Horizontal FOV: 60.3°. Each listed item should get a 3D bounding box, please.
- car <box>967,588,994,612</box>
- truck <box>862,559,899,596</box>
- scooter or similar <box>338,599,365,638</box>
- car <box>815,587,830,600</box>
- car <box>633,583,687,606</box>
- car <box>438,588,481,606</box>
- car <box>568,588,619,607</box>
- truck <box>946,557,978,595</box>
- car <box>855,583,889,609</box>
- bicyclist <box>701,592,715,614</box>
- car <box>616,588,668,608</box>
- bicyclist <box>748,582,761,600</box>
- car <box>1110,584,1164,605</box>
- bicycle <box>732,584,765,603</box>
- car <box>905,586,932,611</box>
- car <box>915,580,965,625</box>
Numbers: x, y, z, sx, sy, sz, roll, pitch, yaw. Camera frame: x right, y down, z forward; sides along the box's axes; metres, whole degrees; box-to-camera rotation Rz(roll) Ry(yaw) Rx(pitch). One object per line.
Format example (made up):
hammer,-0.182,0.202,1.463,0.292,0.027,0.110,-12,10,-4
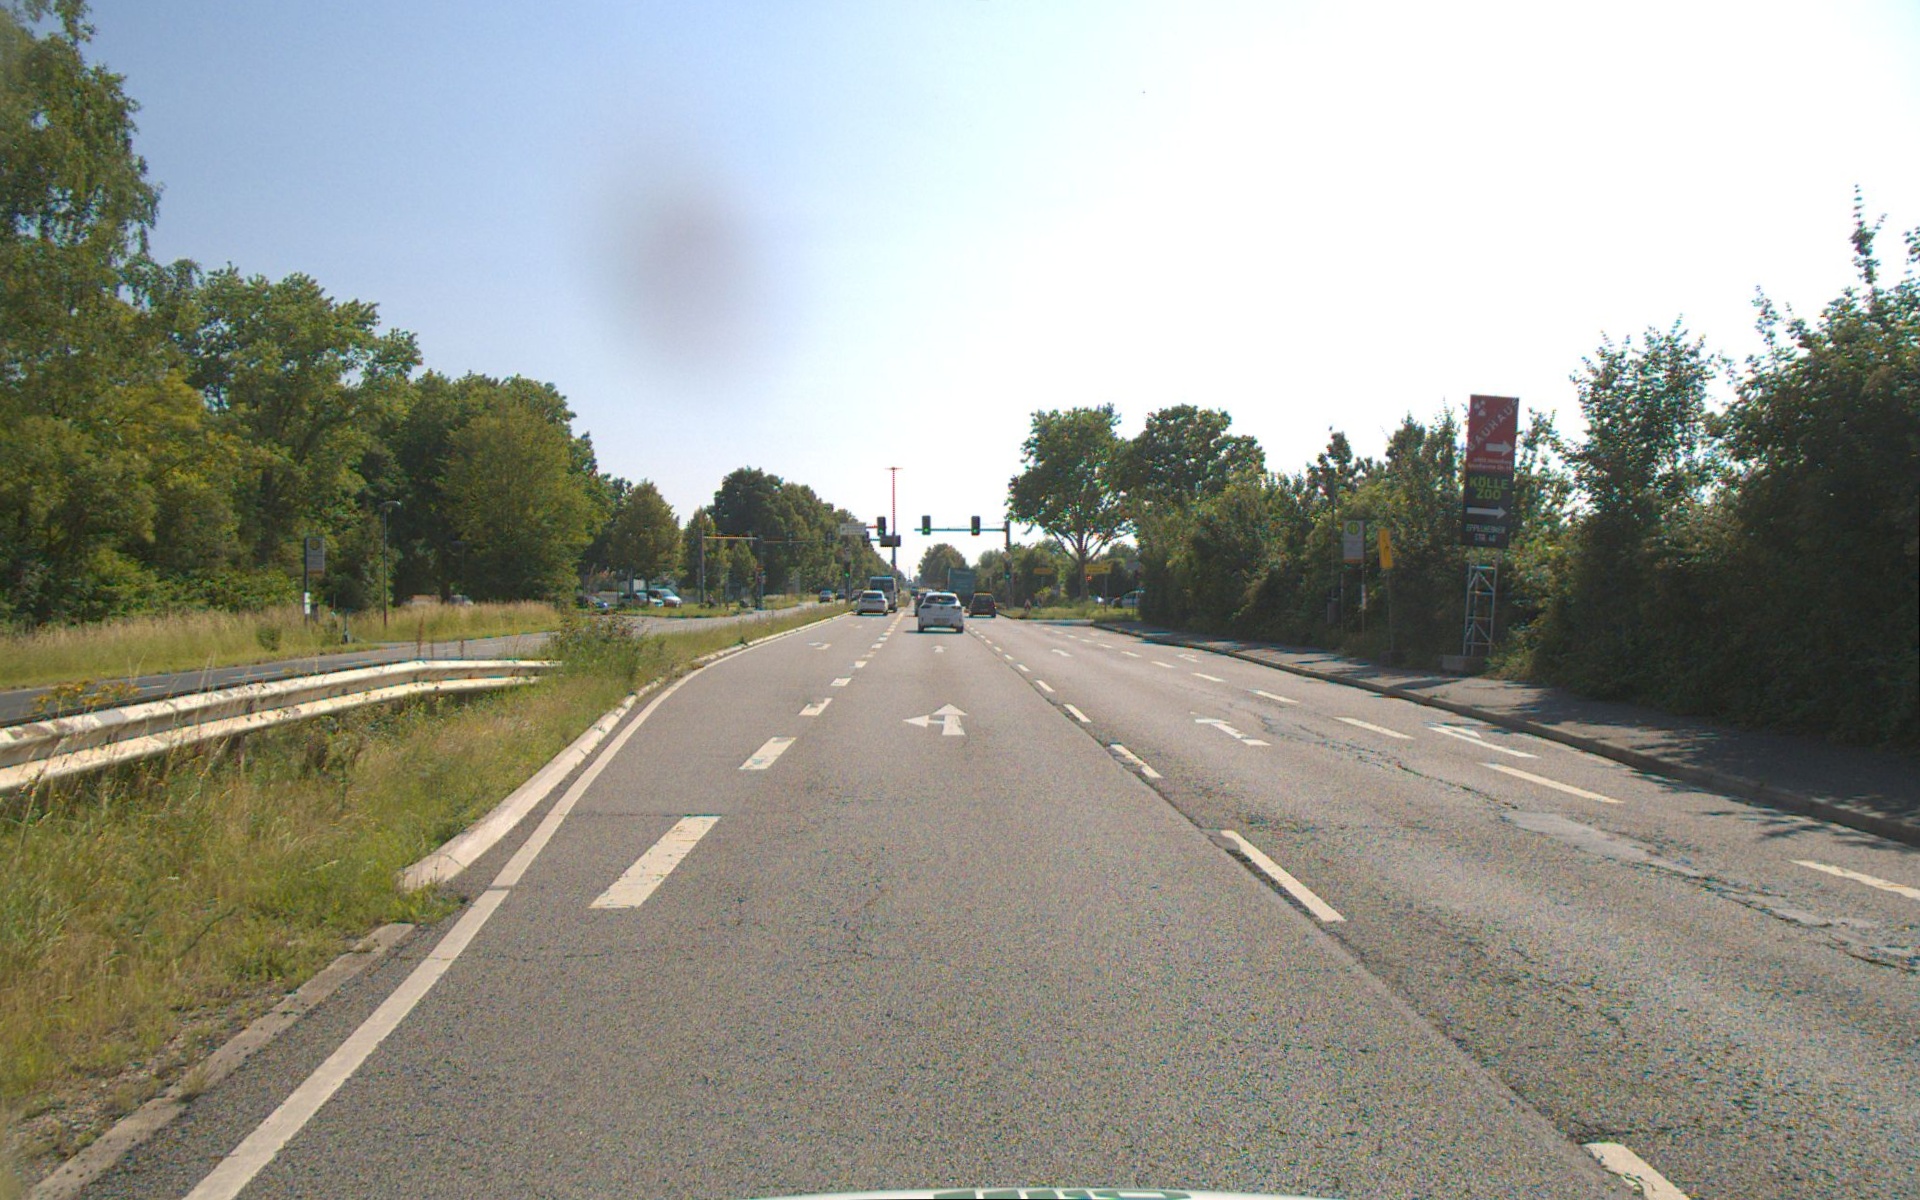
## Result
car,1.249,-0.004,101.632,1.540,1.439,3.276,1,0,-1
truck,-5.375,-1.567,112.842,2.325,2.430,6.039,0,1,-1
scooter or similar,-19.404,0.576,52.740,0.360,1.206,1.340,-2,0,-1
car,-16.706,-0.825,201.091,1.456,1.439,3.761,-2,1,-1
car,-26.413,-0.469,145.417,4.559,1.984,1.994,0,0,34
car,-47.290,-0.300,156.173,4.190,1.634,1.994,0,1,41
car,-32.128,-0.207,144.949,4.180,1.634,1.999,0,1,34
truck,0.134,-2.336,159.653,2.833,3.488,9.167,0,1,-1
car,-5.321,-0.258,100.317,1.775,1.490,4.970,1,0,0
bicyclist,-18.050,0.240,118.680,0.829,1.544,0.747,1,1,4
car,-27.213,-0.168,141.620,4.180,1.634,1.999,0,1,34
bicyclist,-18.552,-0.789,149.050,0.845,1.647,0.757,1,0,26
car,13.333,-0.423,124.803,3.669,1.495,1.784,1,0,26
bicycle,-19.105,-0.614,149.347,2.737,1.699,1.135,-1,1,26
car,-2.506,-0.106,99.982,1.540,1.439,3.277,1,1,-1
car,-0.747,0.066,61.901,1.762,1.580,4.000,1,1,-1
